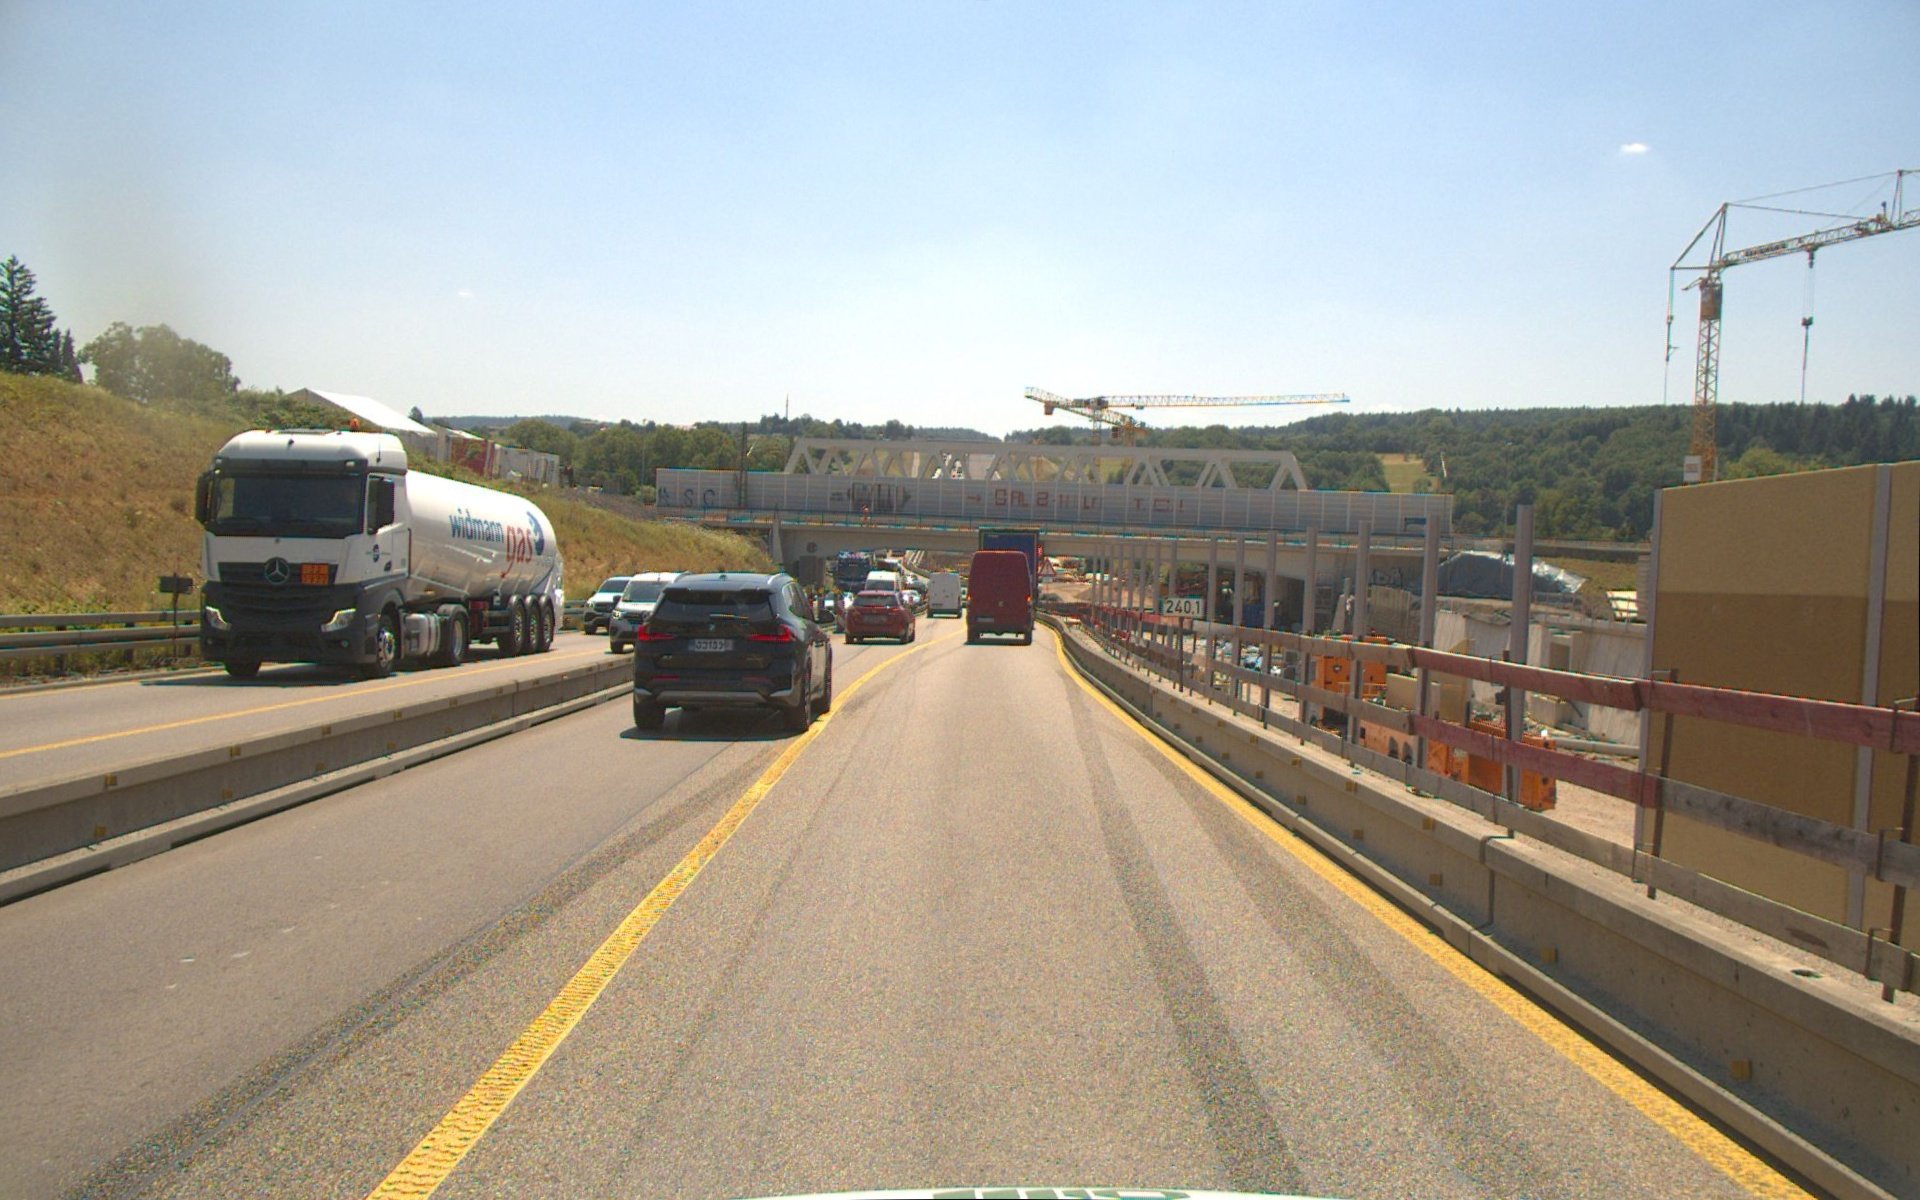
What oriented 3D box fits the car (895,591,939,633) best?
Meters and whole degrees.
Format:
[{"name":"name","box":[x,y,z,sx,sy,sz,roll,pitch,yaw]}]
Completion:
[{"name":"car","box":[-1.833,0.492,71.027,1.802,1.683,4.164,0,1,-1]}]

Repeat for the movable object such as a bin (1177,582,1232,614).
[{"name":"movable object such as a bin","box":[23.408,-0.206,158.205,5.038,2.856,2.144,1,0,5]}]

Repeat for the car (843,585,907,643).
[{"name":"car","box":[-2.420,0.358,47.166,1.740,1.544,4.204,0,1,-3]}]

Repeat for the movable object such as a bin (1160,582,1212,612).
[{"name":"movable object such as a bin","box":[22.470,-0.317,164.743,5.038,2.856,2.144,1,0,5]}]

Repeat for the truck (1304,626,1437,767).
[{"name":"truck","box":[12.740,2.885,51.790,2.702,3.954,5.882,1,1,1]}]

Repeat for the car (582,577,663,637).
[{"name":"car","box":[-10.672,0.181,52.544,1.754,1.793,4.536,0,1,-2]}]

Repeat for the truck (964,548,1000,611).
[{"name":"truck","box":[2.122,-1.903,152.191,2.775,5.492,12.917,1,1,3]}]

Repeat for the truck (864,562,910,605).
[{"name":"truck","box":[-6.953,-1.613,158.973,2.775,3.919,12.920,1,1,4]}]

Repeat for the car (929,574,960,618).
[{"name":"car","box":[-0.918,-0.258,95.695,1.740,2.484,4.205,0,1,-1]}]

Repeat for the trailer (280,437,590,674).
[{"name":"trailer","box":[-10.041,-0.806,33.409,2.537,3.868,11.916,1,1,-1]}]

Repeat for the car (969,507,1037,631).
[{"name":"car","box":[1.814,-1.343,73.822,2.567,5.120,10.395,0,1,-1]}]

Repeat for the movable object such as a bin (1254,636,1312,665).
[{"name":"movable object such as a bin","box":[19.314,3.000,98.911,3.045,1.590,1.548,2,1,36]}]

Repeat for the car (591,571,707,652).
[{"name":"car","box":[-7.090,0.224,38.165,1.841,1.775,4.482,0,1,0]}]

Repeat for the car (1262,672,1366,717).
[{"name":"car","box":[17.435,4.643,81.556,4.631,1.804,2.001,3,2,1]}]

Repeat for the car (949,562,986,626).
[{"name":"car","box":[0.483,-0.464,113.365,2.400,4.233,6.859,0,1,-1]}]

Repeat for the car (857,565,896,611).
[{"name":"car","box":[-5.055,-0.742,101.039,1.953,2.652,7.010,1,1,0]}]

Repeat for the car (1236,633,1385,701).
[{"name":"car","box":[15.788,3.000,74.719,5.978,2.629,2.524,2,2,-10]}]

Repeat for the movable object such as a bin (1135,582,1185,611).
[{"name":"movable object such as a bin","box":[20.535,-0.368,169.920,5.038,2.856,2.144,1,0,5]}]

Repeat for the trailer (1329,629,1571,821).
[{"name":"trailer","box":[12.652,2.973,44.296,2.702,3.954,13.051,1,1,1]}]

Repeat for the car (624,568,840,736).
[{"name":"car","box":[-2.400,0.482,18.502,1.841,1.646,4.498,0,1,-1]}]

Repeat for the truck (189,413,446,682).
[{"name":"truck","box":[-9.943,-0.781,25.973,2.537,3.868,3.766,1,0,-1]}]

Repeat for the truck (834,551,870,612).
[{"name":"truck","box":[-7.473,-1.284,114.671,2.310,4.085,3.998,1,0,-2]}]

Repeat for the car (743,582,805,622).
[{"name":"car","box":[-7.523,0.054,67.401,1.921,1.489,4.940,1,1,0]}]

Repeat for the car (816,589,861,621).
[{"name":"car","box":[-6.001,0.211,81.979,1.763,1.472,4.637,1,1,1]}]

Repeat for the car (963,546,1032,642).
[{"name":"car","box":[1.137,-0.202,49.897,1.947,2.737,4.625,0,1,1]}]
